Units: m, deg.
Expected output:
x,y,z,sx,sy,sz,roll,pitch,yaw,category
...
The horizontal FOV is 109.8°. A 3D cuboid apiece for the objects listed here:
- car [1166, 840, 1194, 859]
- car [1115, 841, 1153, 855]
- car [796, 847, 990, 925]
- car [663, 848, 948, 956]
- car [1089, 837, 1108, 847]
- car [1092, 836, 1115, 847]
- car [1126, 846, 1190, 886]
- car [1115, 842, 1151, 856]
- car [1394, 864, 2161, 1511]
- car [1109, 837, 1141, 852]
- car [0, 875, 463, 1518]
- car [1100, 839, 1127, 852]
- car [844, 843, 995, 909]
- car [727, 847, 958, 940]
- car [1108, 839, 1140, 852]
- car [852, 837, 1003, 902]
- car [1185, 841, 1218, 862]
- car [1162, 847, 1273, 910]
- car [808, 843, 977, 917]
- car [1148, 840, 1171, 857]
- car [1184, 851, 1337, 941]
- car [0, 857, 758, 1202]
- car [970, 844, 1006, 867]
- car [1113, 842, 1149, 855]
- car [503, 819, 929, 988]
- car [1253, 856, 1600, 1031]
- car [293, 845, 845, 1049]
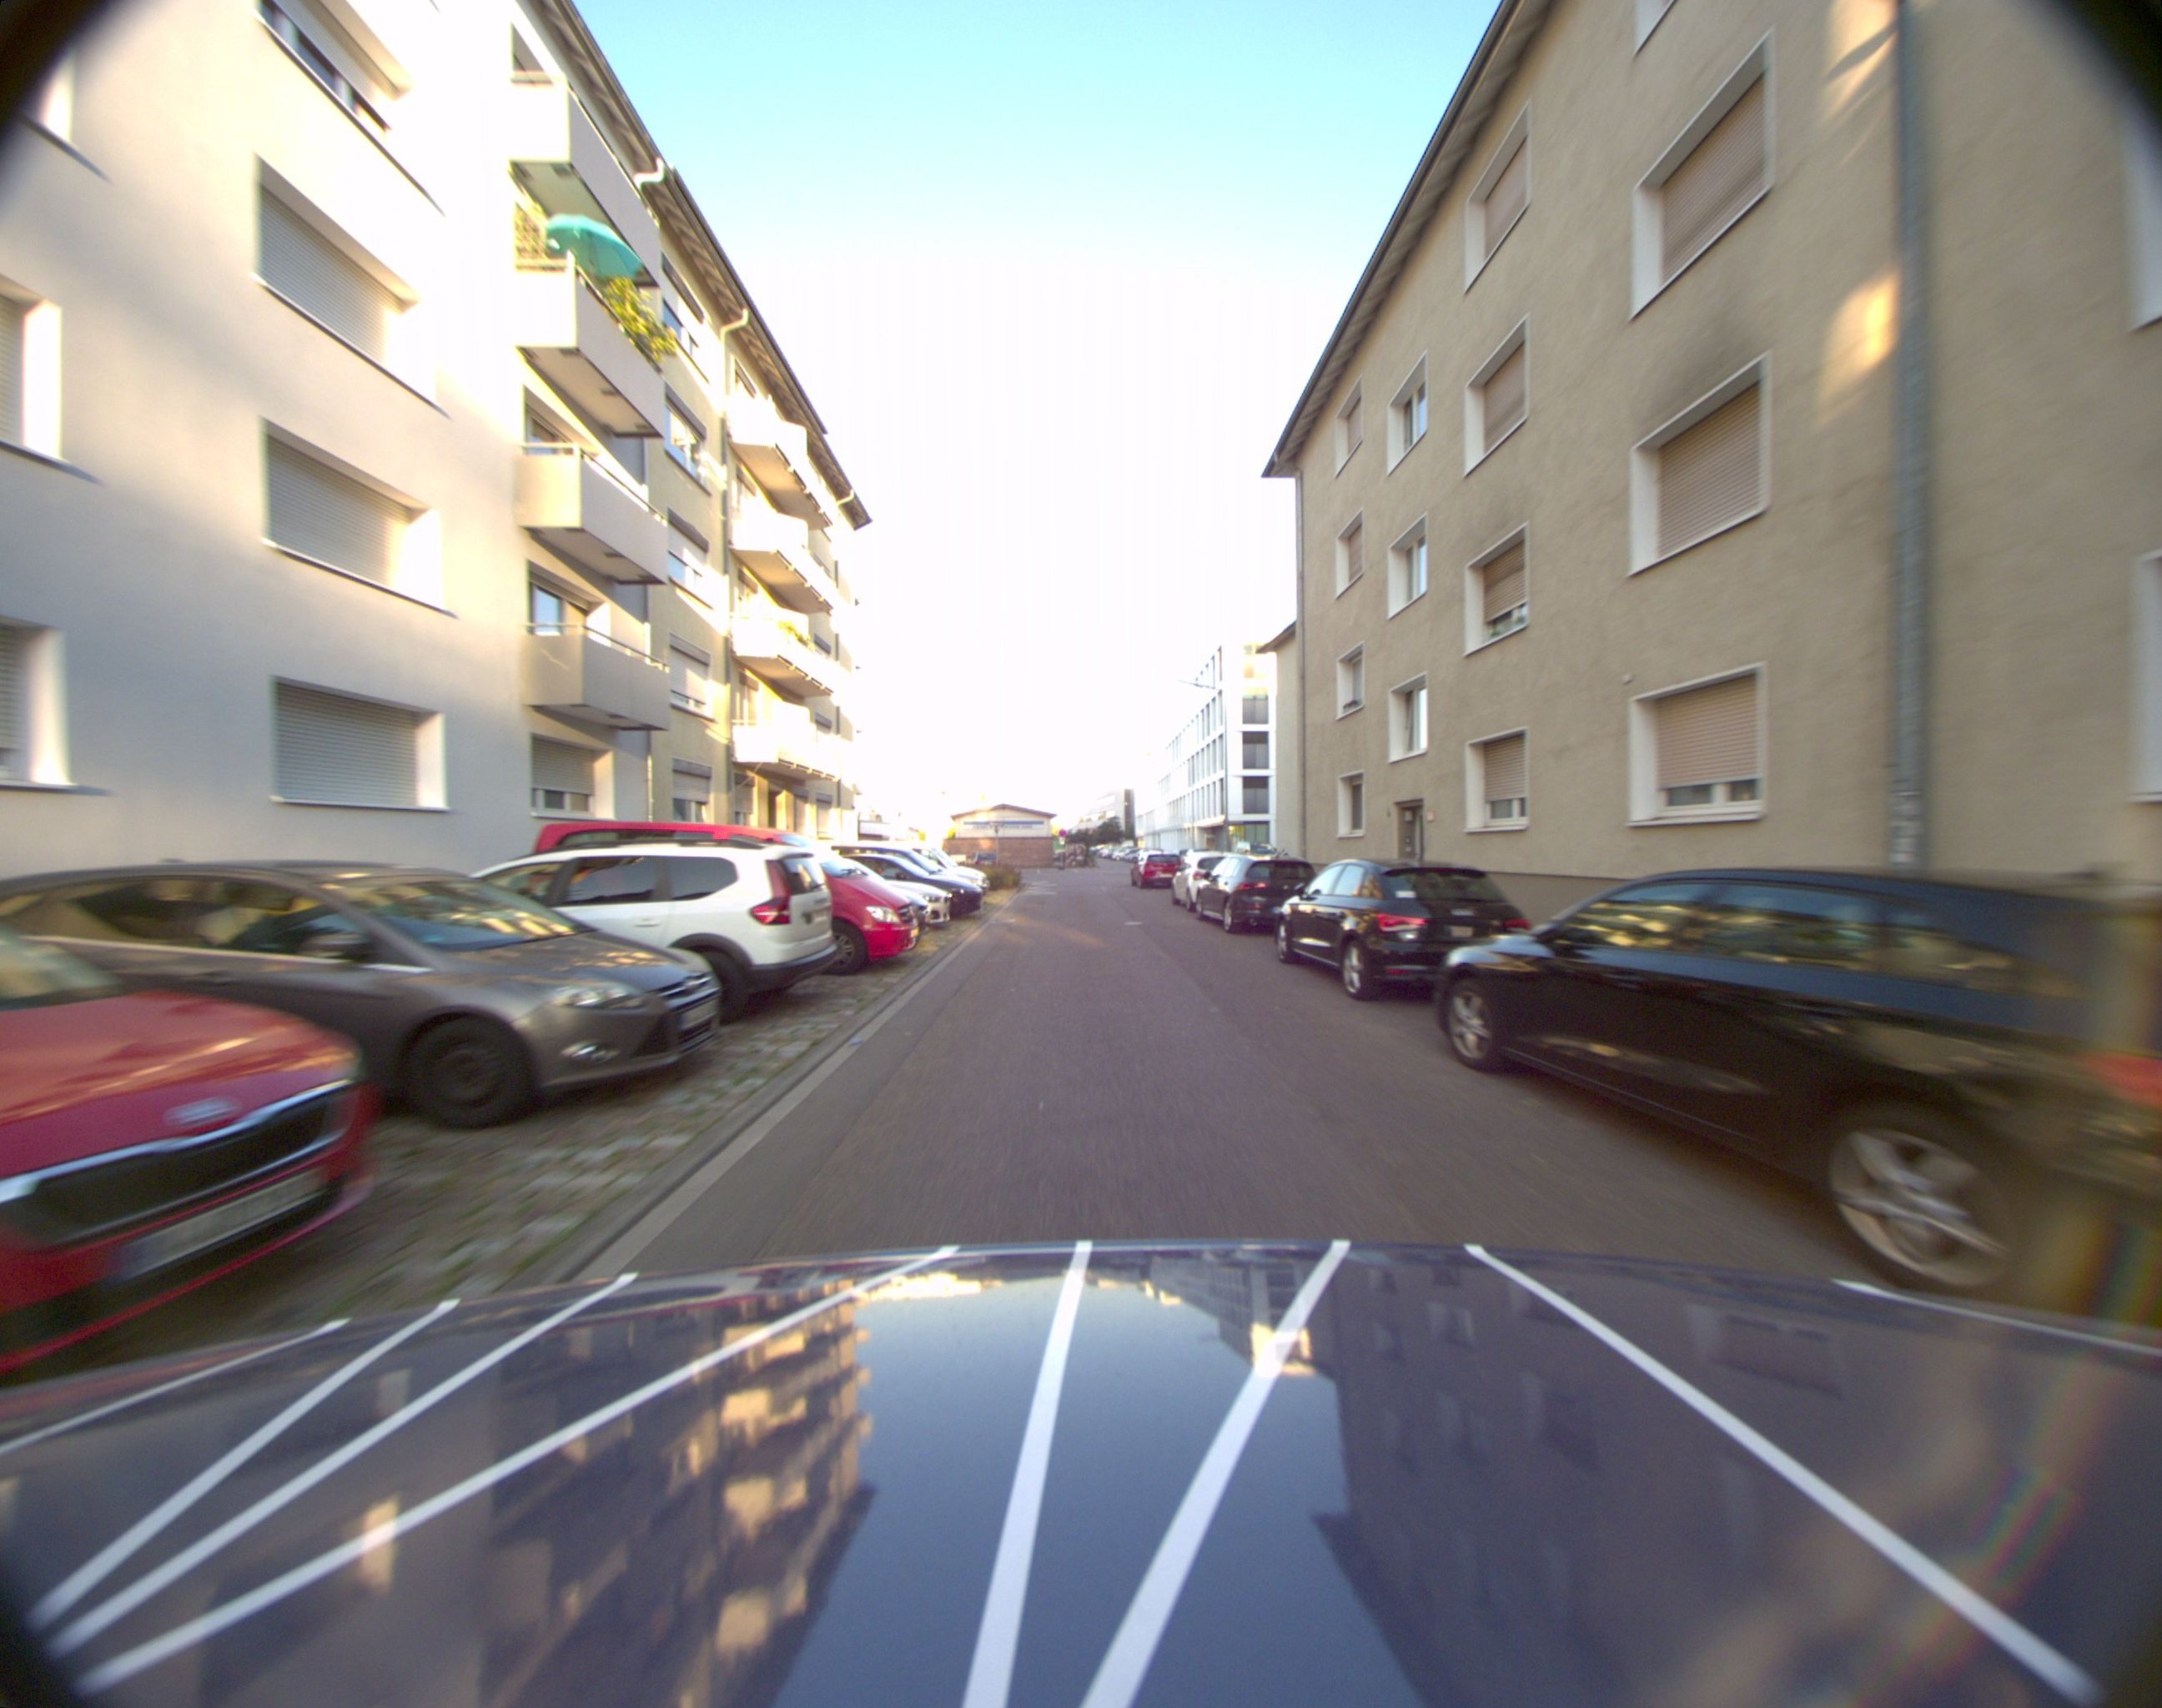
x,y,z,sx,sy,sz,roll,pitch,yaw,category
8.236,-0.425,63.528,1.998,1.477,4.000,-1,1,2,car
5.783,-0.672,83.138,3.996,1.477,2.000,-1,1,2,car
-4.331,0.704,17.987,3.996,1.674,2.000,-1,1,2,car
-4.499,0.747,12.809,3.995,1.630,2.000,-1,1,6,car
3.667,-2.553,160.191,3.997,2.002,1.999,-1,1,-1,car
3.919,-2.230,134.906,3.997,2.002,1.999,-1,1,-1,car
3.071,0.440,31.162,1.999,1.481,4.430,-1,1,-2,car
5.821,-0.604,85.761,3.996,1.477,2.000,-1,1,2,car
3.574,0.855,3.847,1.999,1.436,4.430,-1,1,-2,car
5.505,-1.154,95.665,3.997,1.805,2.000,-1,1,1,car
-4.844,0.905,2.308,4.311,1.532,1.923,-1,1,0,car
4.758,-1.269,111.788,3.997,1.740,1.999,-1,1,0,car
-4.681,0.616,22.468,3.997,1.784,1.999,-1,1,0,car
-4.687,0.742,15.409,3.997,1.674,2.000,-1,1,1,car
5.486,-1.103,97.919,3.997,1.477,2.000,-1,1,1,car
-4.885,0.469,24.727,4.427,1.957,2.000,-1,1,2,car
9.063,-0.230,57.583,1.998,1.477,4.000,-1,1,2,car
3.495,0.573,20.365,1.999,1.436,4.430,-1,1,-2,car
-4.935,0.656,20.376,3.997,1.827,1.999,-1,1,0,car
7.525,-0.538,73.142,1.998,1.510,4.000,-1,1,2,car
3.349,0.703,15.087,1.792,1.436,4.430,-1,1,-2,car
-4.512,0.901,4.870,3.998,1.652,1.999,-1,1,-3,car
-6.379,0.083,51.614,2.001,1.481,4.426,-2,1,-13,car
5.774,-0.650,87.877,3.997,1.477,2.000,-1,1,1,car
-4.614,0.584,10.208,4.685,1.989,1.999,-1,1,0,car
3.583,0.802,8.979,1.999,1.436,4.430,-1,1,-1,car
-4.545,0.762,7.305,3.998,1.620,1.784,-1,1,-3,car
